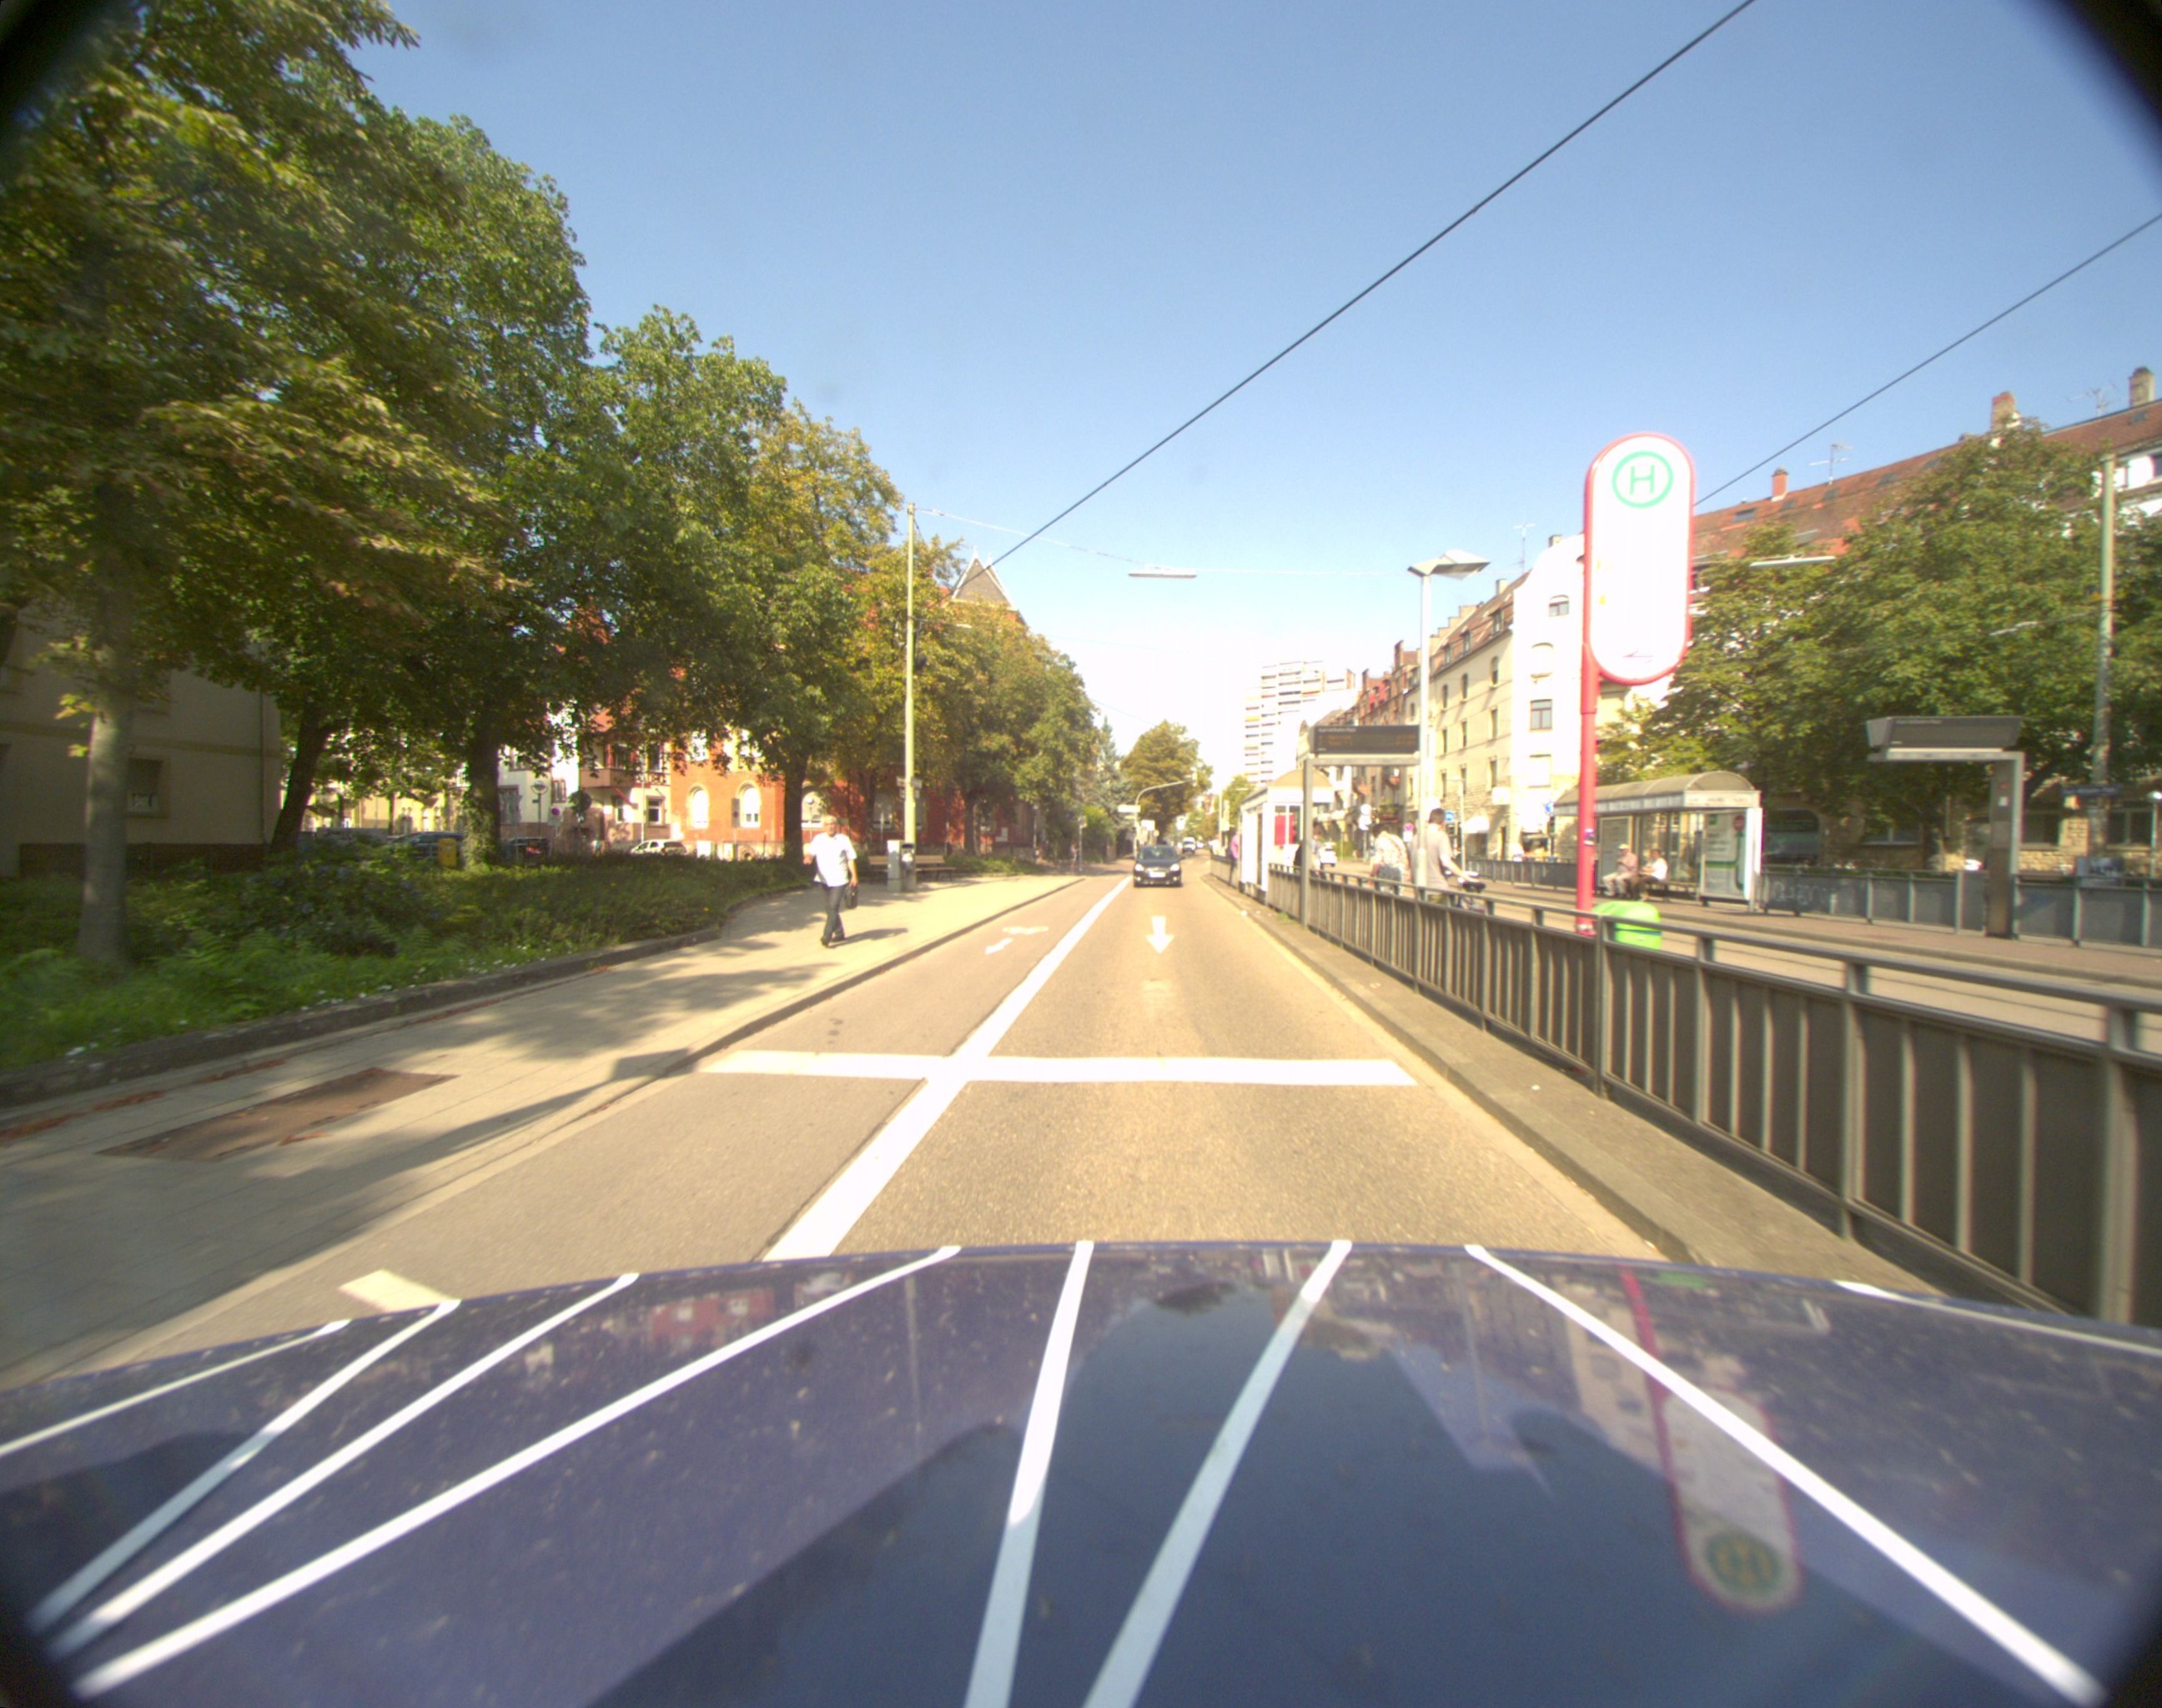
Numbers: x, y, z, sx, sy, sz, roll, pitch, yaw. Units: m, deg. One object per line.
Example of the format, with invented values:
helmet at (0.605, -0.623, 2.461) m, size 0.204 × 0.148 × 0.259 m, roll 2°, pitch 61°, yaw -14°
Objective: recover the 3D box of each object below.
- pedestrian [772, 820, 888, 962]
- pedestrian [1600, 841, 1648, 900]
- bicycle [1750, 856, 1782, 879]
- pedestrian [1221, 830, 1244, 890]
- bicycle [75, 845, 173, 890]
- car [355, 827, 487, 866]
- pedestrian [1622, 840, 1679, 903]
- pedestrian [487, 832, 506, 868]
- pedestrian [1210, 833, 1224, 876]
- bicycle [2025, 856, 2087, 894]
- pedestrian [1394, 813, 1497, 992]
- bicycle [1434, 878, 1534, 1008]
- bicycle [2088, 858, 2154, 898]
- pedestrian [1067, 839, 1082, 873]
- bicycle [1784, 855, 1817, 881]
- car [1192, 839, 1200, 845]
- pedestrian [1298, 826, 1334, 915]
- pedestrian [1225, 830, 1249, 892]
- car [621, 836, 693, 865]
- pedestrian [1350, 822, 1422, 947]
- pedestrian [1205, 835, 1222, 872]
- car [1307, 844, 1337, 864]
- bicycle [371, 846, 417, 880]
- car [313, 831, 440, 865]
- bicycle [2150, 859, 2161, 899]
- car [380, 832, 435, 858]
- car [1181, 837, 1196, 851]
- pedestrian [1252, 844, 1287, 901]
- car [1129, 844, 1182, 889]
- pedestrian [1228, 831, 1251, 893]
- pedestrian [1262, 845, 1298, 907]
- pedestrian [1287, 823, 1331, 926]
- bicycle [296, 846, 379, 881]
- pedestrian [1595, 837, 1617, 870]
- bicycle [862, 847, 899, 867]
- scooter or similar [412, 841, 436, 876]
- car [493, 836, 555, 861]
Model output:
pedestrian at (-3.272, 0.450, 9.995) m, size 1.079 × 1.715 × 0.969 m, roll 4°, pitch 2°, yaw 5°
pedestrian at (13.532, 0.401, 18.950) m, size 0.678 × 1.448 × 0.718 m, roll 1°, pitch 2°, yaw 7°
bicycle at (33.168, 0.635, 36.793) m, size 2.346 × 1.073 × 0.695 m, roll 0°, pitch 2°, yaw -37°
pedestrian at (4.679, 0.172, 23.446) m, size 0.638 × 1.837 × 0.634 m, roll 1°, pitch 2°, yaw 8°
bicycle at (-24.018, 0.324, 19.107) m, size 0.416 × 1.054 × 1.489 m, roll 1°, pitch 2°, yaw 9°
car at (-29.958, -0.357, 34.620) m, size 1.658 × 1.629 × 4.202 m, roll 1°, pitch 1°, yaw 26°
pedestrian at (13.386, 0.397, 17.878) m, size 0.794 × 1.448 × 0.718 m, roll 1°, pitch 2°, yaw 6°
pedestrian at (-28.518, -0.188, 37.067) m, size 0.656 × 1.754 × 0.605 m, roll -1°, pitch 2°, yaw -33°
pedestrian at (5.735, 0.034, 32.103) m, size 0.559 × 1.792 × 0.676 m, roll 1°, pitch 2°, yaw 9°
bicycle at (37.238, 0.782, 29.018) m, size 2.306 × 1.363 × 0.866 m, roll 0°, pitch 2°, yaw -23°
pedestrian at (3.742, 0.467, 7.858) m, size 0.691 × 1.756 × 0.796 m, roll 0°, pitch 2°, yaw 5°
bicycle at (4.099, 0.845, 7.839) m, size 0.473 × 1.097 × 1.739 m, roll 1°, pitch 1°, yaw 14°
bicycle at (37.579, 0.849, 27.442) m, size 2.306 × 1.363 × 0.866 m, roll 0°, pitch 2°, yaw -23°
pedestrian at (-0.340, 0.099, 38.651) m, size 0.542 × 1.708 × 0.662 m, roll 1°, pitch 2°, yaw 21°
bicycle at (33.356, 0.630, 35.201) m, size 2.346 × 1.073 × 0.695 m, roll -2°, pitch 3°, yaw -37°
car at (32.890, -3.506, 217.492) m, size 1.997 × 1.640 × 4.003 m, roll 1°, pitch 1°, yaw 10°
pedestrian at (4.733, 0.321, 15.321) m, size 0.553 × 1.750 × 0.533 m, roll 0°, pitch 2°, yaw 4°
pedestrian at (4.670, 0.209, 22.758) m, size 0.638 × 1.837 × 0.634 m, roll 1°, pitch 2°, yaw 8°
car at (-24.148, -0.220, 43.228) m, size 3.989 × 1.558 × 1.625 m, roll 1°, pitch 1°, yaw 27°
pedestrian at (4.419, 0.426, 11.054) m, size 0.769 × 1.750 × 0.680 m, roll 0°, pitch 2°, yaw 4°
pedestrian at (6.330, -0.021, 36.276) m, size 0.730 × 1.759 × 0.739 m, roll -1°, pitch -1°, yaw 9°
car at (18.277, -0.041, 57.794) m, size 1.731 × 1.426 × 3.924 m, roll 1°, pitch 1°, yaw 11°
bicycle at (-22.228, 0.279, 24.582) m, size 1.834 × 1.052 × 0.609 m, roll 1°, pitch 2°, yaw 32°
car at (-34.499, -0.273, 37.356) m, size 1.659 × 1.453 × 4.203 m, roll 1°, pitch -2°, yaw 21°
bicycle at (38.087, 0.849, 26.216) m, size 2.306 × 1.363 × 0.866 m, roll 0°, pitch 2°, yaw -23°
car at (-49.690, -0.676, 56.051) m, size 3.989 × 1.911 × 1.625 m, roll 1°, pitch 2°, yaw 27°
car at (17.810, -1.638, 125.991) m, size 2.085 × 2.264 × 4.831 m, roll 1°, pitch 1°, yaw 12°
pedestrian at (4.594, 0.442, 18.554) m, size 0.709 × 1.370 × 0.623 m, roll 1°, pitch 2°, yaw 6°
car at (2.713, 0.393, 27.372) m, size 1.774 × 1.460 × 4.001 m, roll 0°, pitch 1°, yaw 7°
pedestrian at (4.610, 0.218, 22.074) m, size 0.590 × 1.754 × 0.607 m, roll 1°, pitch 2°, yaw 8°
pedestrian at (4.489, 0.475, 17.181) m, size 0.688 × 1.370 × 0.623 m, roll 1°, pitch 2°, yaw 6°
pedestrian at (4.091, 0.347, 13.673) m, size 0.605 × 1.796 × 0.730 m, roll 0°, pitch 2°, yaw 5°
bicycle at (-22.942, 0.295, 23.459) m, size 1.869 × 1.052 × 0.608 m, roll 0°, pitch 2°, yaw -4°
pedestrian at (29.918, -0.009, 43.302) m, size 0.735 × 1.857 × 0.673 m, roll 1°, pitch 2°, yaw 2°
bicycle at (-10.939, 0.151, 41.543) m, size 1.843 × 1.052 × 0.607 m, roll -2°, pitch 0°, yaw -43°
scooter or similar at (-22.224, 0.156, 25.694) m, size 1.109 × 1.151 × 0.443 m, roll 2°, pitch 2°, yaw 41°
car at (-35.887, -0.361, 48.947) m, size 3.989 × 1.558 × 1.625 m, roll 1°, pitch 1°, yaw 27°
